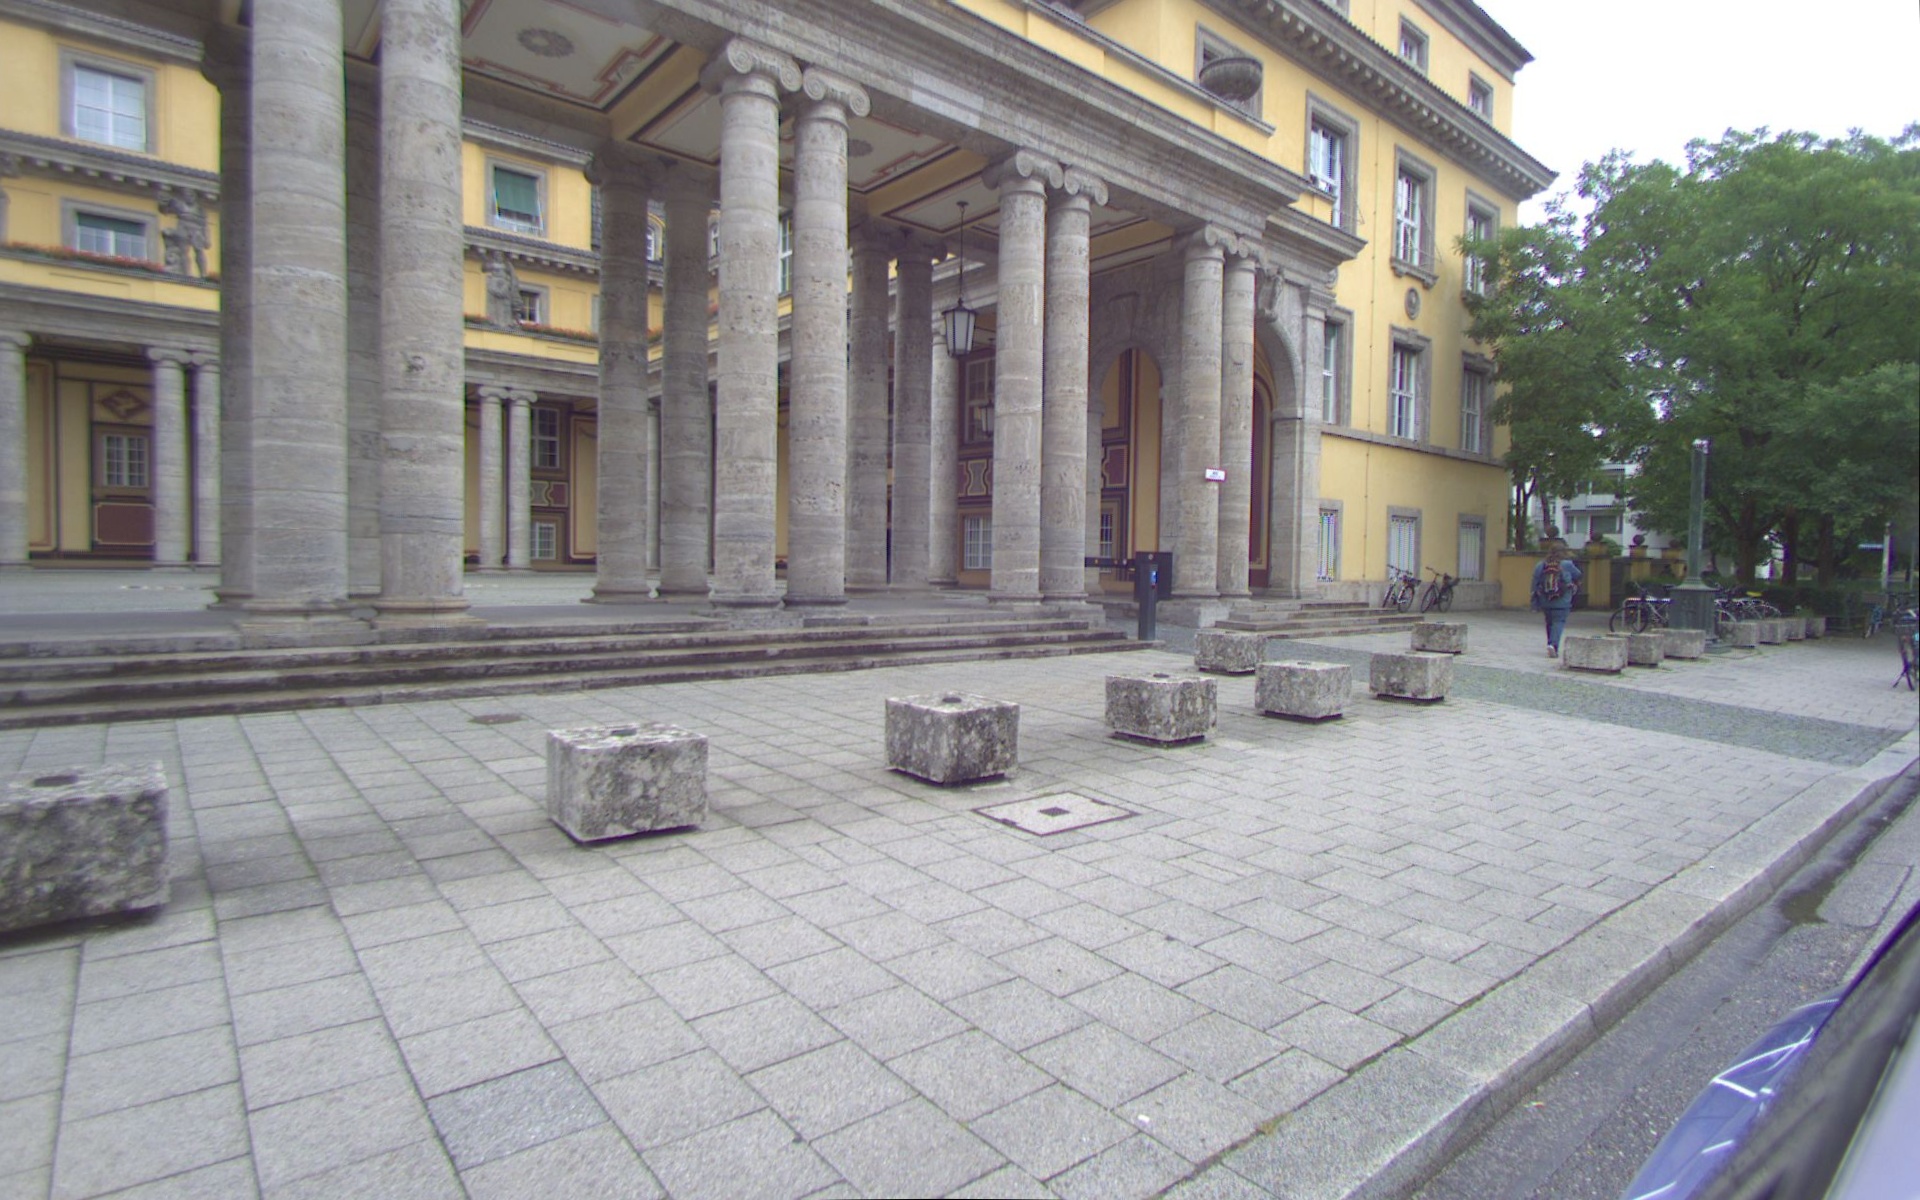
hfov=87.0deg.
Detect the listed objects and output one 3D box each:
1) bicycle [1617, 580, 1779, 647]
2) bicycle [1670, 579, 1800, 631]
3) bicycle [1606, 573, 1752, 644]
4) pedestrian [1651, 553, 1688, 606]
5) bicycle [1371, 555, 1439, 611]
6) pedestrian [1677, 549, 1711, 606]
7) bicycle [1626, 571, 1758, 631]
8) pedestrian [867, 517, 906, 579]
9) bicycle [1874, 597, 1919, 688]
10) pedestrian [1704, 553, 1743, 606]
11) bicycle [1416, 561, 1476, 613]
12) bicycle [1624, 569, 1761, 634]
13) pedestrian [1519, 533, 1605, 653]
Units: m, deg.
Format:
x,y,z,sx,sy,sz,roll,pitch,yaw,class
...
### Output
x,y,z,sx,sy,sz,roll,pitch,yaw,class
13.935,0.226,19.166,2.362,1.018,0.668,6,5,42,bicycle
17.992,0.096,23.559,0.591,1.023,2.264,1,4,-37,bicycle
14.441,0.133,20.385,2.256,1.107,0.593,9,8,39,bicycle
24.971,-0.733,35.624,0.827,1.764,0.741,-1,6,-40,pedestrian
11.082,-0.438,25.185,2.224,1.323,0.601,-1,3,-41,bicycle
25.439,-0.790,35.068,0.806,1.887,0.659,-1,6,-40,pedestrian
16.181,-0.007,22.426,2.256,1.035,0.593,9,8,39,bicycle
-2.107,-1.486,29.196,0.795,1.742,0.979,-1,0,16,pedestrian
13.264,0.559,13.884,2.225,1.113,0.762,-1,5,-41,bicycle
27.944,-0.766,37.037,1.017,1.887,0.782,-1,6,-41,pedestrian
12.834,-0.354,26.701,2.127,1.323,0.601,-1,3,-41,bicycle
15.645,0.008,21.669,2.256,1.071,0.593,9,8,39,bicycle
9.323,-0.129,15.670,1.037,1.767,0.789,-1,3,-41,pedestrian
